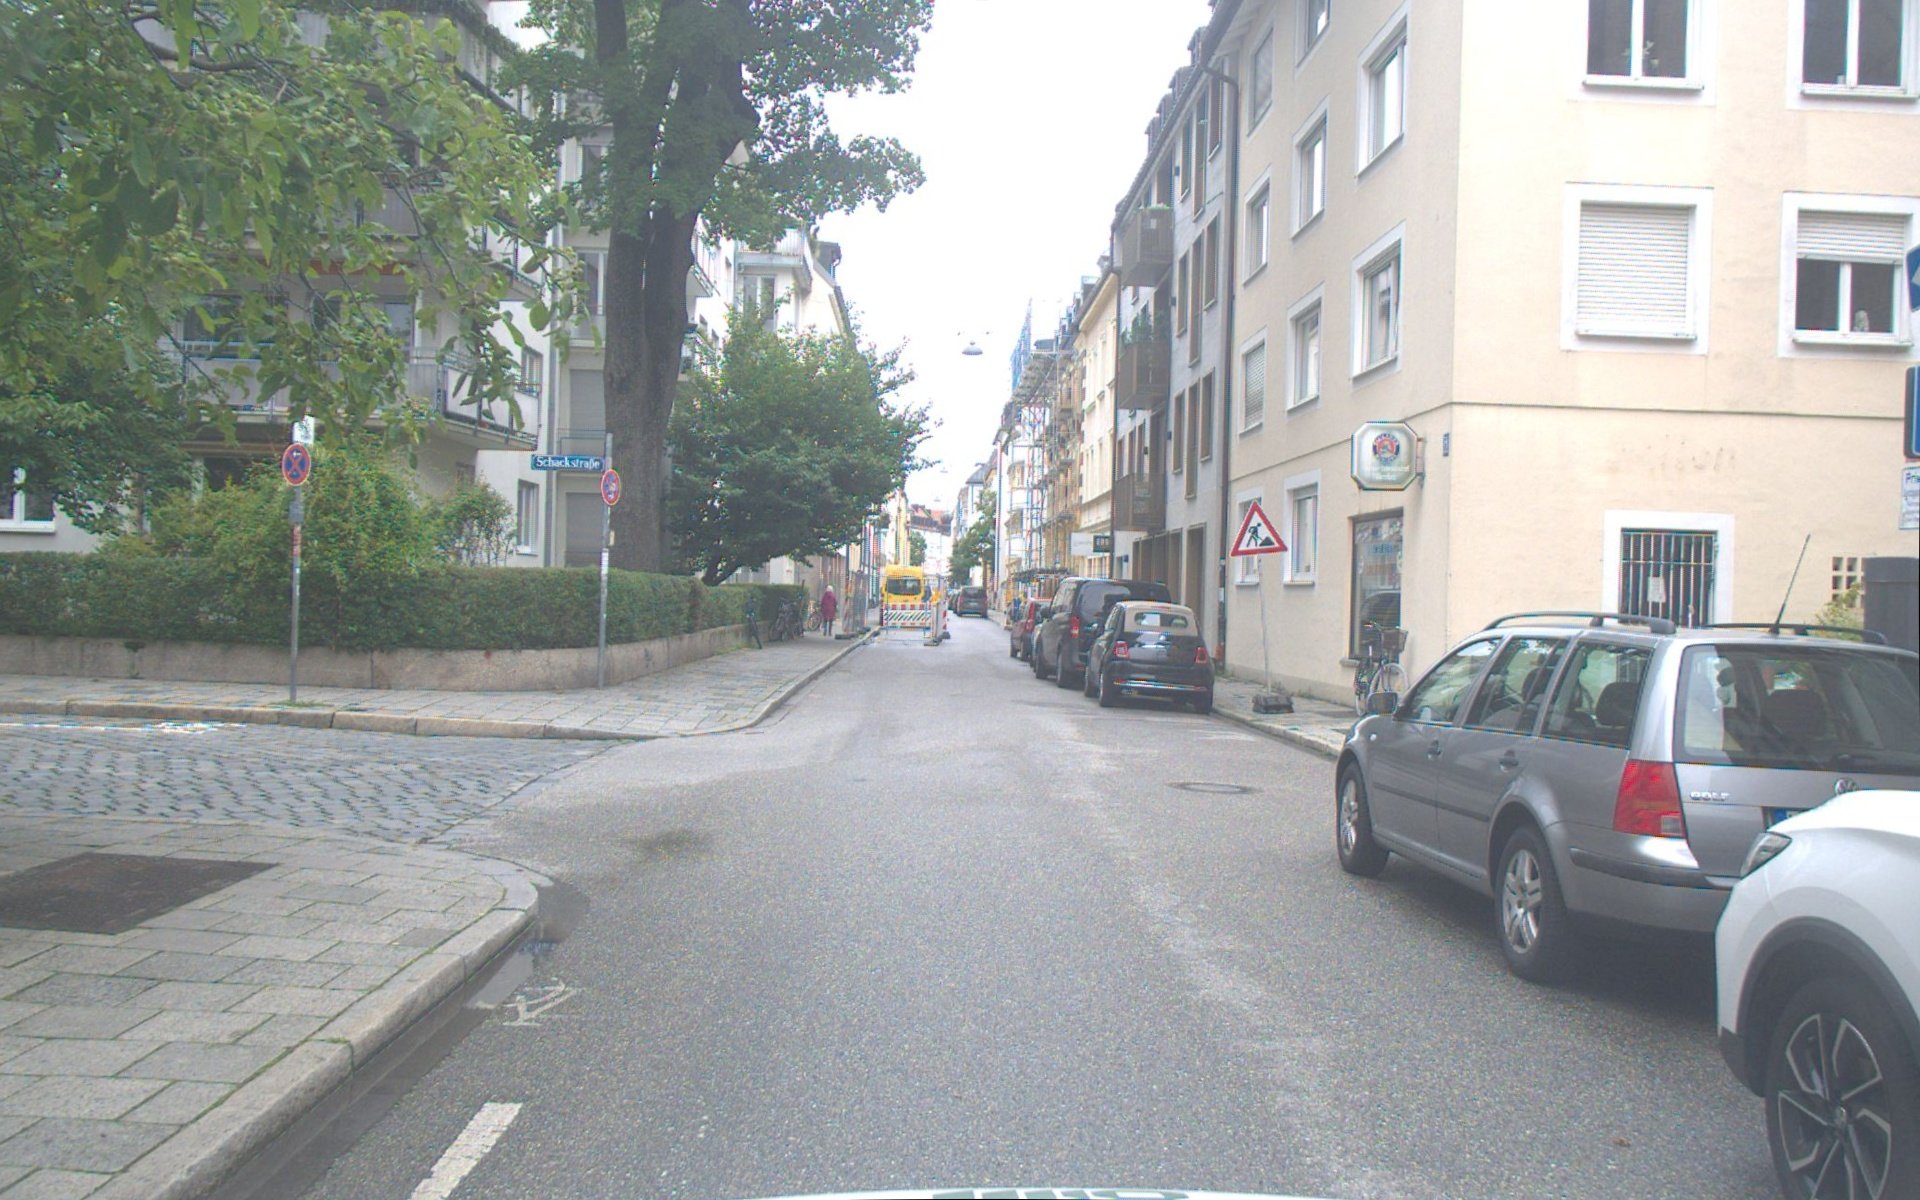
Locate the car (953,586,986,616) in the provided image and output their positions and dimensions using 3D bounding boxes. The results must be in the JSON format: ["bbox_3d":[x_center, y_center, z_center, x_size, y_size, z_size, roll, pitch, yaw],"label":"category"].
[{"bbox_3d":[0.611,0.027,106.619,1.766,1.741,3.824,5,0,-3],"label":"car"}]

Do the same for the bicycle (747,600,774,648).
[{"bbox_3d":[-4.459,0.534,37.052,0.406,1.038,1.853,1,0,-1],"label":"bicycle"}]

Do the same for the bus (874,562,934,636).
[{"bbox_3d":[-2.458,-0.040,74.508,2.540,3.156,6.304,1,0,-1],"label":"bus"}]

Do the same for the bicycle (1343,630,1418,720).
[{"bbox_3d":[5.222,0.913,20.629,0.464,1.044,1.705,-1,0,-1],"label":"bicycle"}]

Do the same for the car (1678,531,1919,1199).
[{"bbox_3d":[3.006,0.703,2.601,1.714,1.658,4.194,1,0,-3],"label":"car"}]

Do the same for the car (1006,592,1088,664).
[{"bbox_3d":[2.102,0.650,40.859,1.603,1.541,3.828,5,0,-2],"label":"car"}]

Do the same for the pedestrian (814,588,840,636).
[{"bbox_3d":[-4.248,0.384,52.825,0.740,1.517,0.831,1,0,-1],"label":"pedestrian"}]

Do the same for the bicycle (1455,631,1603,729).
[{"bbox_3d":[6.382,0.890,18.571,1.505,1.044,0.475,-1,0,-4],"label":"bicycle"}]

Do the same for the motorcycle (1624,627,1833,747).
[{"bbox_3d":[8.119,0.897,17.542,0.617,1.127,1.897,2,0,-43],"label":"motorcycle"}]

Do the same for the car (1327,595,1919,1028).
[{"bbox_3d":[3.120,0.751,7.806,1.709,1.470,3.998,2,0,-2],"label":"car"}]

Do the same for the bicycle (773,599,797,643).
[{"bbox_3d":[-4.496,0.524,42.589,0.437,1.092,2.466,1,0,-3],"label":"bicycle"}]

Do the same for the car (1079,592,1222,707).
[{"bbox_3d":[2.756,0.675,24.631,1.592,1.513,3.807,2,0,-1],"label":"car"}]

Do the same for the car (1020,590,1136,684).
[{"bbox_3d":[2.300,0.683,33.076,1.765,1.595,3.998,5,0,-2],"label":"car"}]

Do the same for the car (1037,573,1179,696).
[{"bbox_3d":[2.507,0.553,28.986,1.766,1.851,3.997,5,0,-3],"label":"car"}]

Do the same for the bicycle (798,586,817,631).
[{"bbox_3d":[-5.104,0.283,55.380,0.504,1.442,1.933,1,0,-1],"label":"bicycle"}]
